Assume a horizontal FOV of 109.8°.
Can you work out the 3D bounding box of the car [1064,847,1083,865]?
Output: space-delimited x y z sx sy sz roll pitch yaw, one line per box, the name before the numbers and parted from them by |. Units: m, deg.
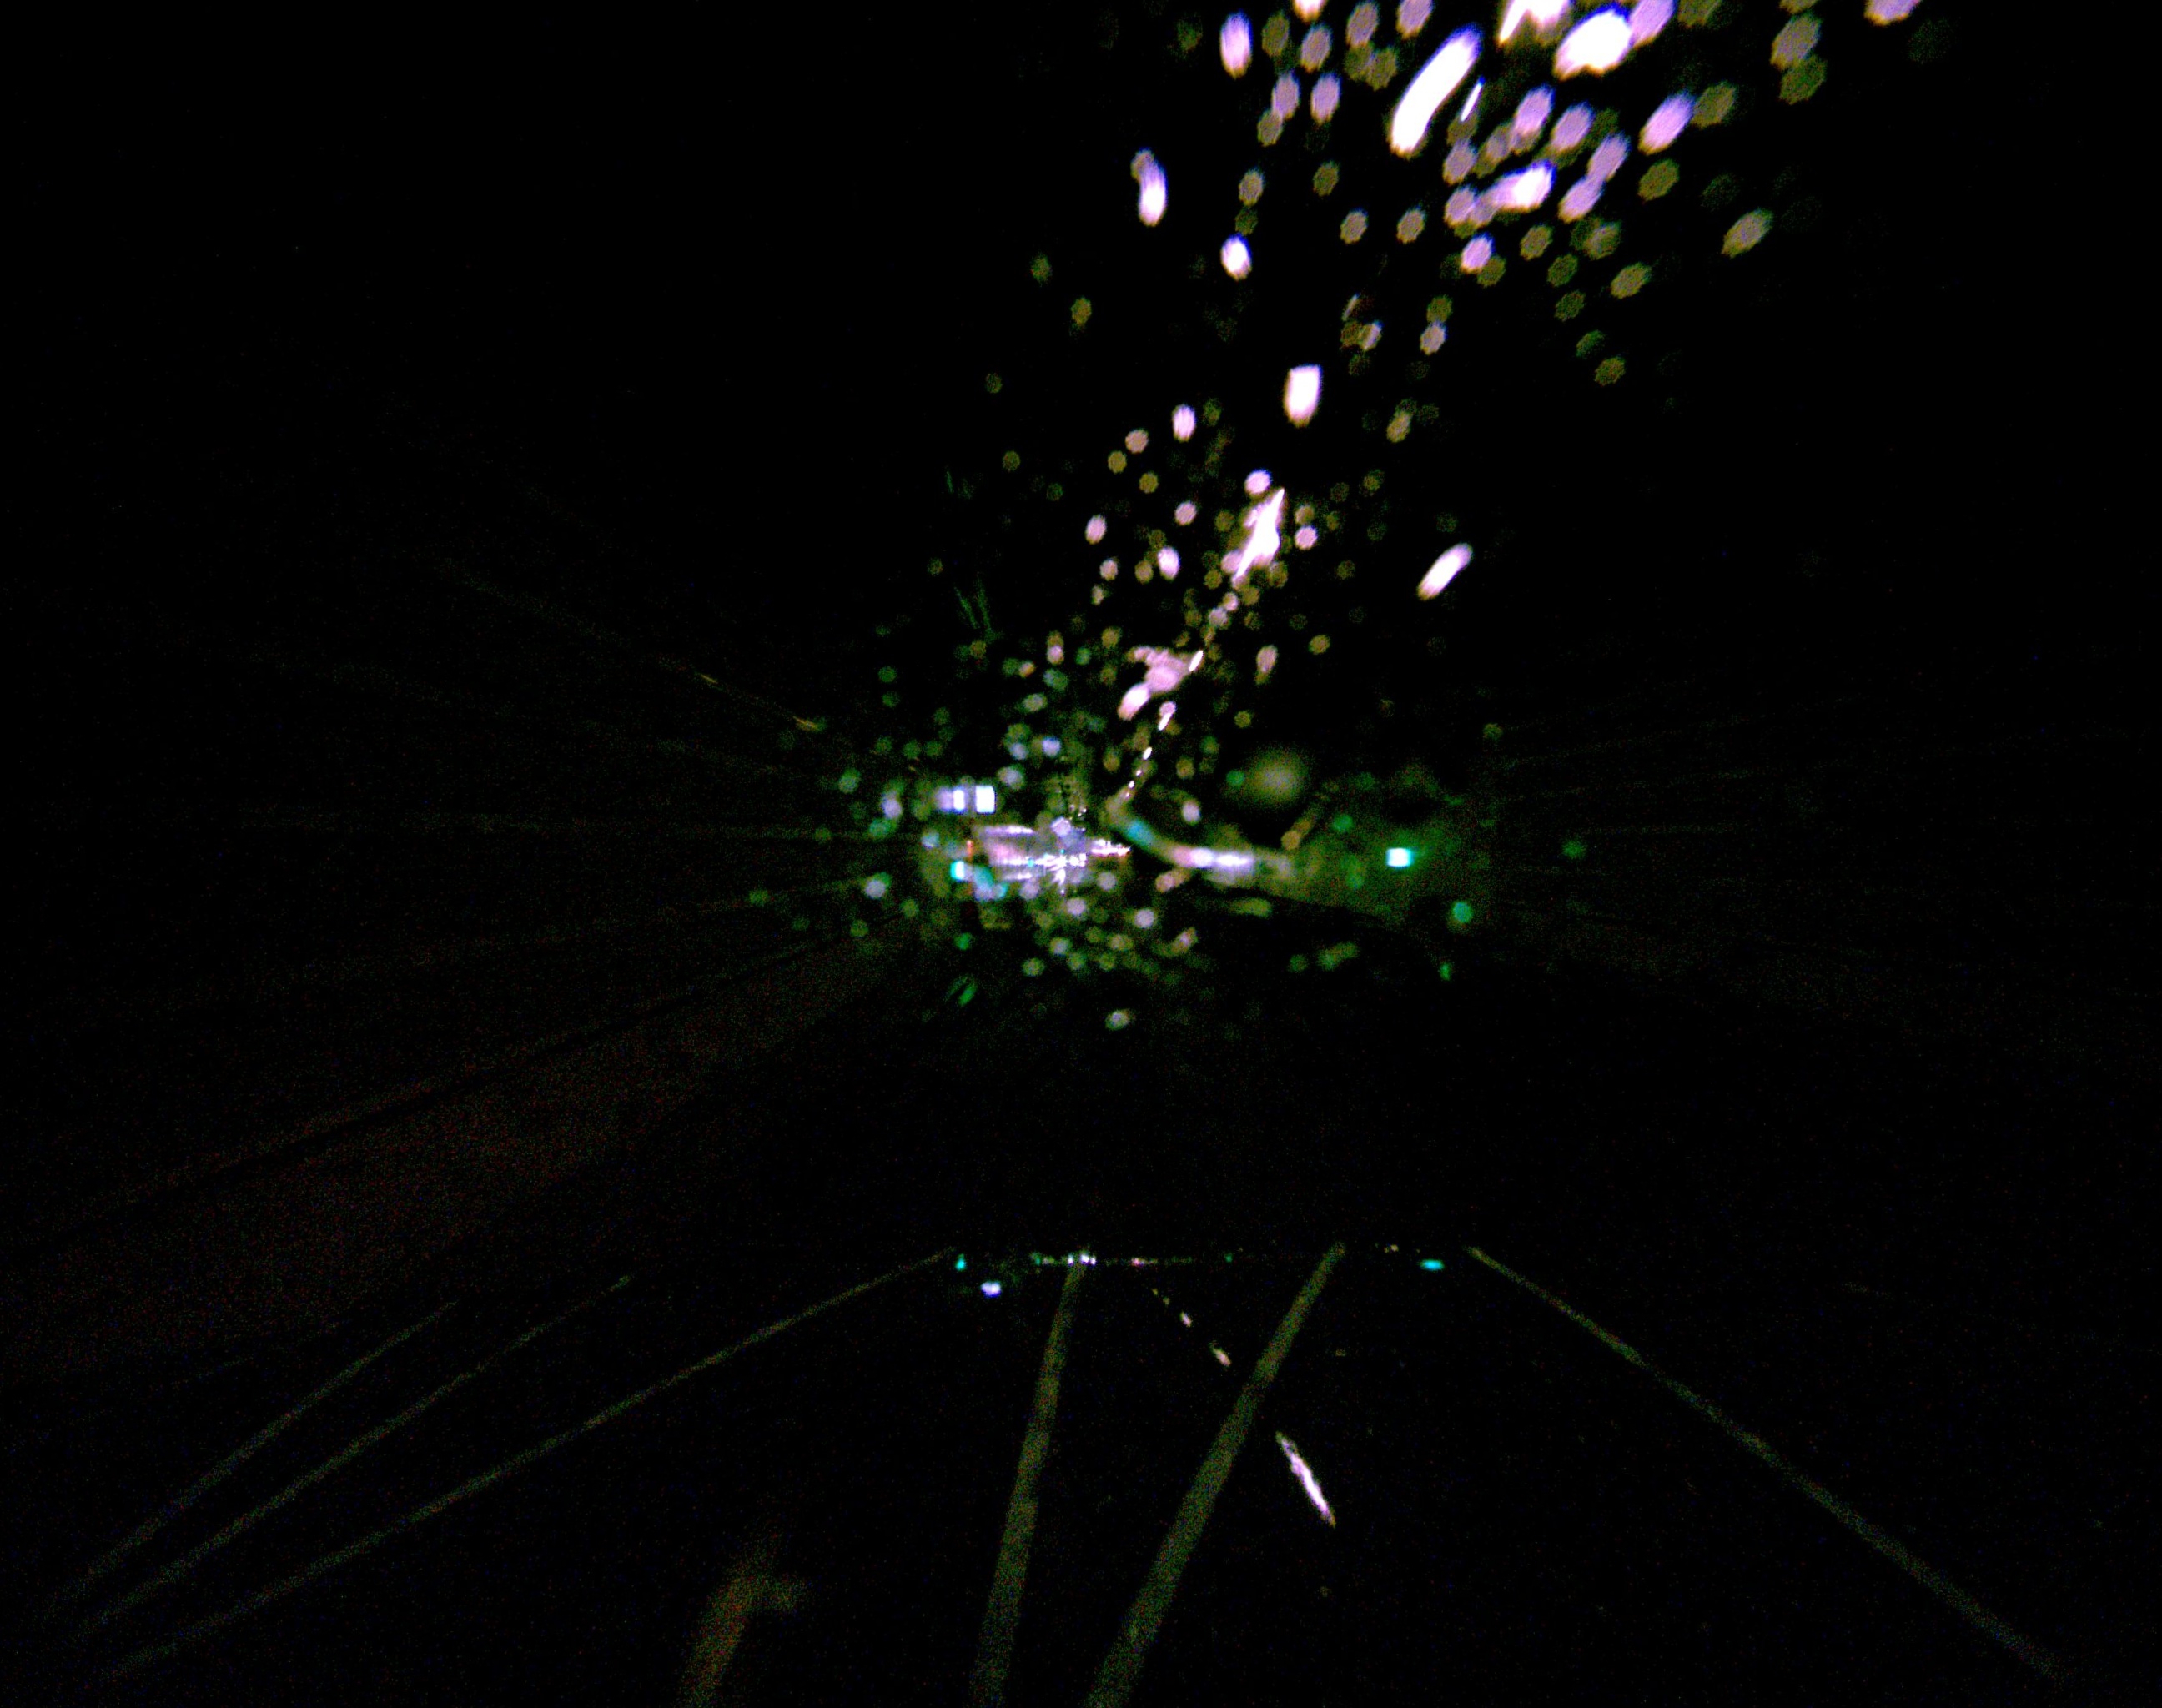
car | -0.837 0.240 88.826 2.030 2.017 4.424 -2 0 0
